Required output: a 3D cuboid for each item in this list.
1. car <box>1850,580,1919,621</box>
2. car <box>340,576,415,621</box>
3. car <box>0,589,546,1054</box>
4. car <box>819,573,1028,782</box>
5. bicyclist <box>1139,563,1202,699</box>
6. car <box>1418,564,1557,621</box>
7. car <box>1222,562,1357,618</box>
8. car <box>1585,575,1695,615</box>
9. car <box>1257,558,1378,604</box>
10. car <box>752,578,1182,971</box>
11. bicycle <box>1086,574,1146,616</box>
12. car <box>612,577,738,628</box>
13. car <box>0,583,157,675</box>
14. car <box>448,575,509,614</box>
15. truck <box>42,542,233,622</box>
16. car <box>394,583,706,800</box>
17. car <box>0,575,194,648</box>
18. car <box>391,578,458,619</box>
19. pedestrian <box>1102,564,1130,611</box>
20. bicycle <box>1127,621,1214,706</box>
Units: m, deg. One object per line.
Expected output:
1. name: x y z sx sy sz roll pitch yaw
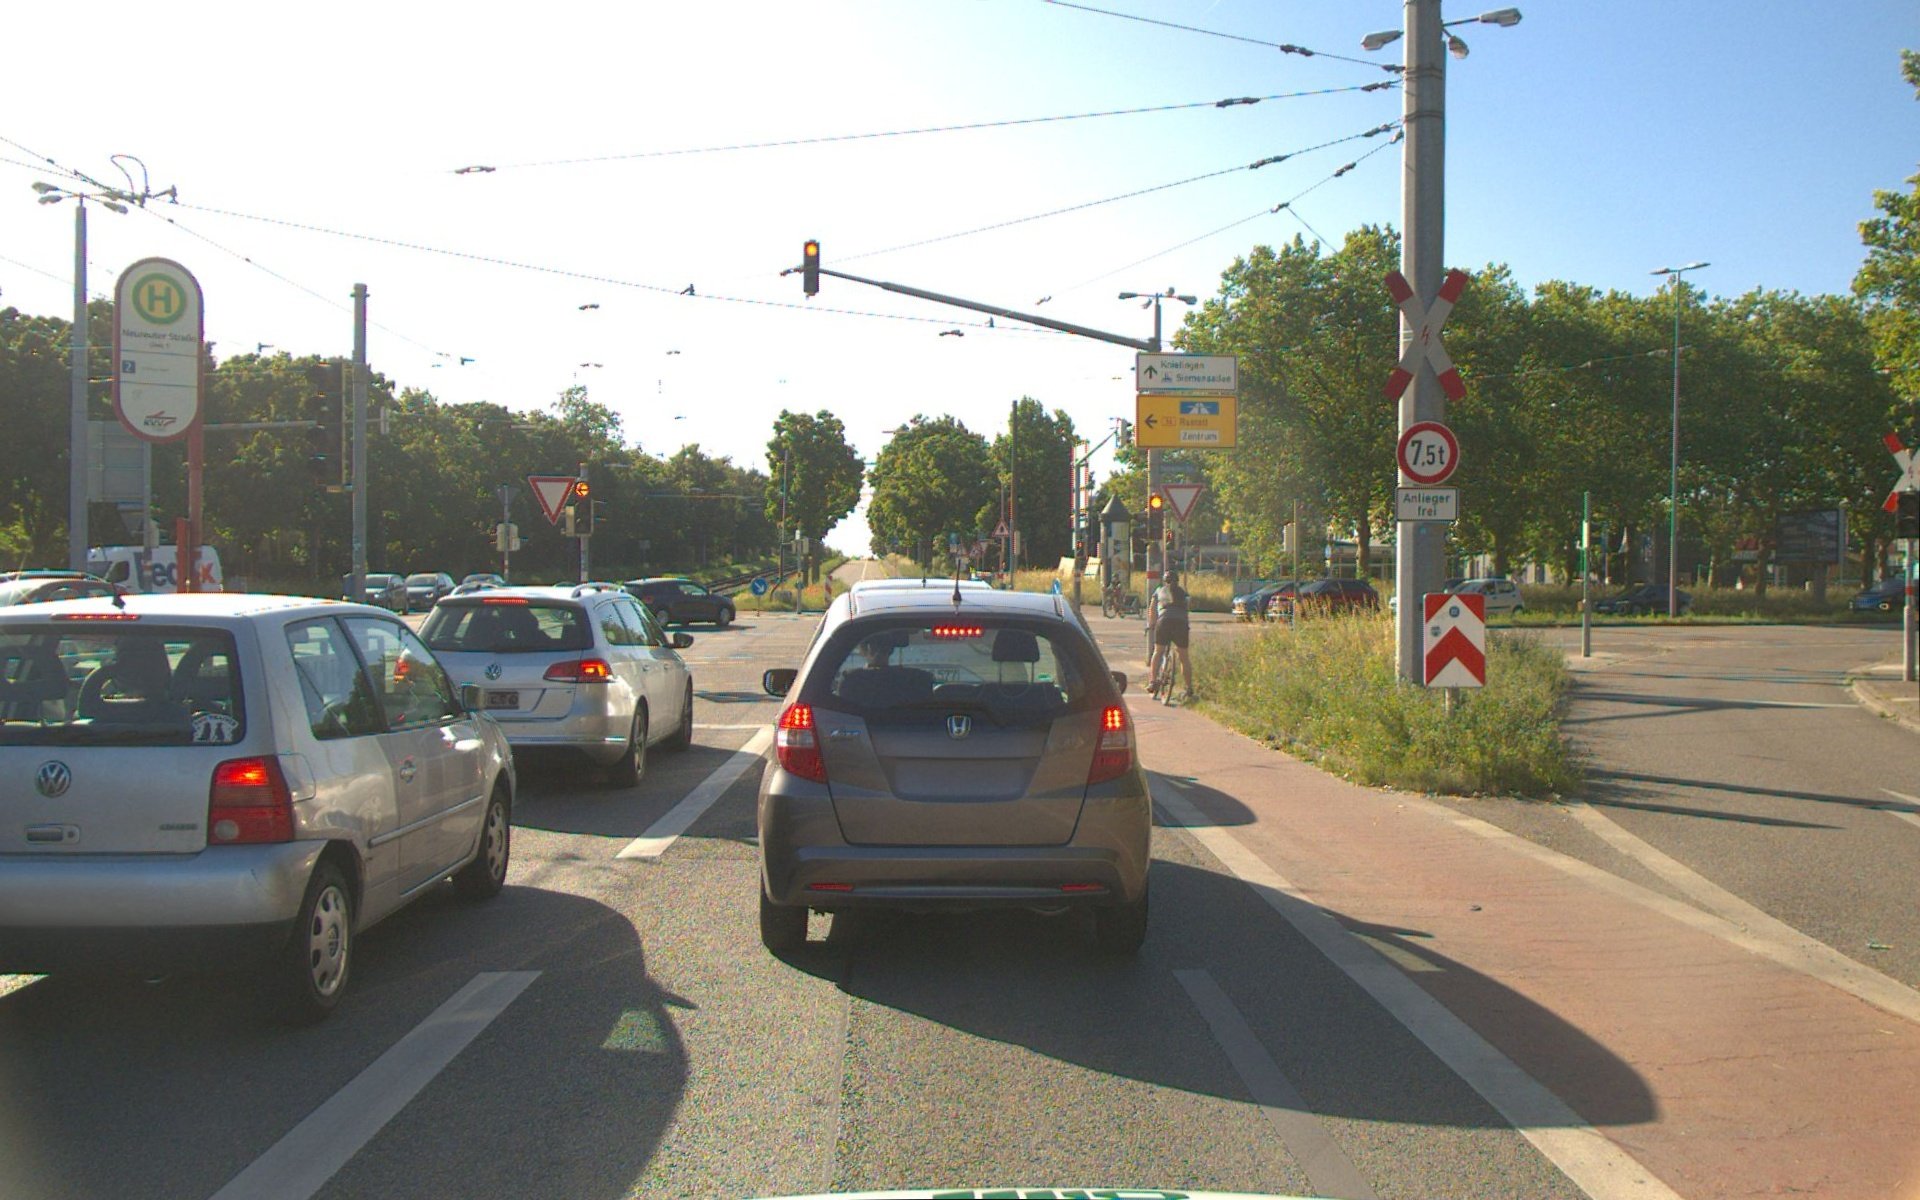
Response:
1. car: 37.428 0.007 65.833 3.923 1.571 1.579 -1 1 -27
2. car: -21.268 -0.060 60.511 1.798 1.575 3.993 0 0 -8
3. car: -2.894 0.693 6.832 1.586 1.442 3.350 0 0 -1
4. car: -0.324 0.580 14.731 1.578 1.589 4.287 0 0 -1
5. bicyclist: 2.781 0.400 21.946 0.652 1.746 0.948 1 0 -2
6. car: 19.425 -0.303 60.911 4.823 2.049 1.985 0 0 -24
7. car: 12.191 -0.365 61.165 4.625 1.912 1.985 2 0 -24
8. car: 28.426 -0.223 69.107 4.449 1.601 1.681 0 0 -24
9. car: 12.335 -0.662 57.052 3.934 1.557 1.594 -1 1 -24
10. car: -0.059 0.649 8.099 1.635 1.487 3.584 0 0 -3
11. bicycle: 6.199 -0.208 65.452 0.805 1.602 3.201 0 1 37
12. car: -8.090 0.056 47.128 1.495 1.403 3.667 0 0 32
13. car: -15.323 0.437 26.987 1.571 1.427 4.016 0 1 21
14. car: -21.672 -0.280 74.549 1.956 1.632 4.746 1 1 -8
15. truck: -28.416 -0.612 57.492 1.951 2.610 6.828 0 0 15
16. car: -3.146 0.635 13.472 1.586 1.482 4.084 1 0 -1
17. car: -18.742 0.209 35.621 3.947 1.504 1.697 -1 0 -31
18. car: -21.432 -0.084 66.299 1.797 1.575 4.277 0 0 -8
19. pedestrian: 6.171 -0.494 65.412 0.776 1.868 0.850 0 0 40
20. bicycle: 2.769 0.813 22.025 0.707 1.006 2.875 1 0 -1
